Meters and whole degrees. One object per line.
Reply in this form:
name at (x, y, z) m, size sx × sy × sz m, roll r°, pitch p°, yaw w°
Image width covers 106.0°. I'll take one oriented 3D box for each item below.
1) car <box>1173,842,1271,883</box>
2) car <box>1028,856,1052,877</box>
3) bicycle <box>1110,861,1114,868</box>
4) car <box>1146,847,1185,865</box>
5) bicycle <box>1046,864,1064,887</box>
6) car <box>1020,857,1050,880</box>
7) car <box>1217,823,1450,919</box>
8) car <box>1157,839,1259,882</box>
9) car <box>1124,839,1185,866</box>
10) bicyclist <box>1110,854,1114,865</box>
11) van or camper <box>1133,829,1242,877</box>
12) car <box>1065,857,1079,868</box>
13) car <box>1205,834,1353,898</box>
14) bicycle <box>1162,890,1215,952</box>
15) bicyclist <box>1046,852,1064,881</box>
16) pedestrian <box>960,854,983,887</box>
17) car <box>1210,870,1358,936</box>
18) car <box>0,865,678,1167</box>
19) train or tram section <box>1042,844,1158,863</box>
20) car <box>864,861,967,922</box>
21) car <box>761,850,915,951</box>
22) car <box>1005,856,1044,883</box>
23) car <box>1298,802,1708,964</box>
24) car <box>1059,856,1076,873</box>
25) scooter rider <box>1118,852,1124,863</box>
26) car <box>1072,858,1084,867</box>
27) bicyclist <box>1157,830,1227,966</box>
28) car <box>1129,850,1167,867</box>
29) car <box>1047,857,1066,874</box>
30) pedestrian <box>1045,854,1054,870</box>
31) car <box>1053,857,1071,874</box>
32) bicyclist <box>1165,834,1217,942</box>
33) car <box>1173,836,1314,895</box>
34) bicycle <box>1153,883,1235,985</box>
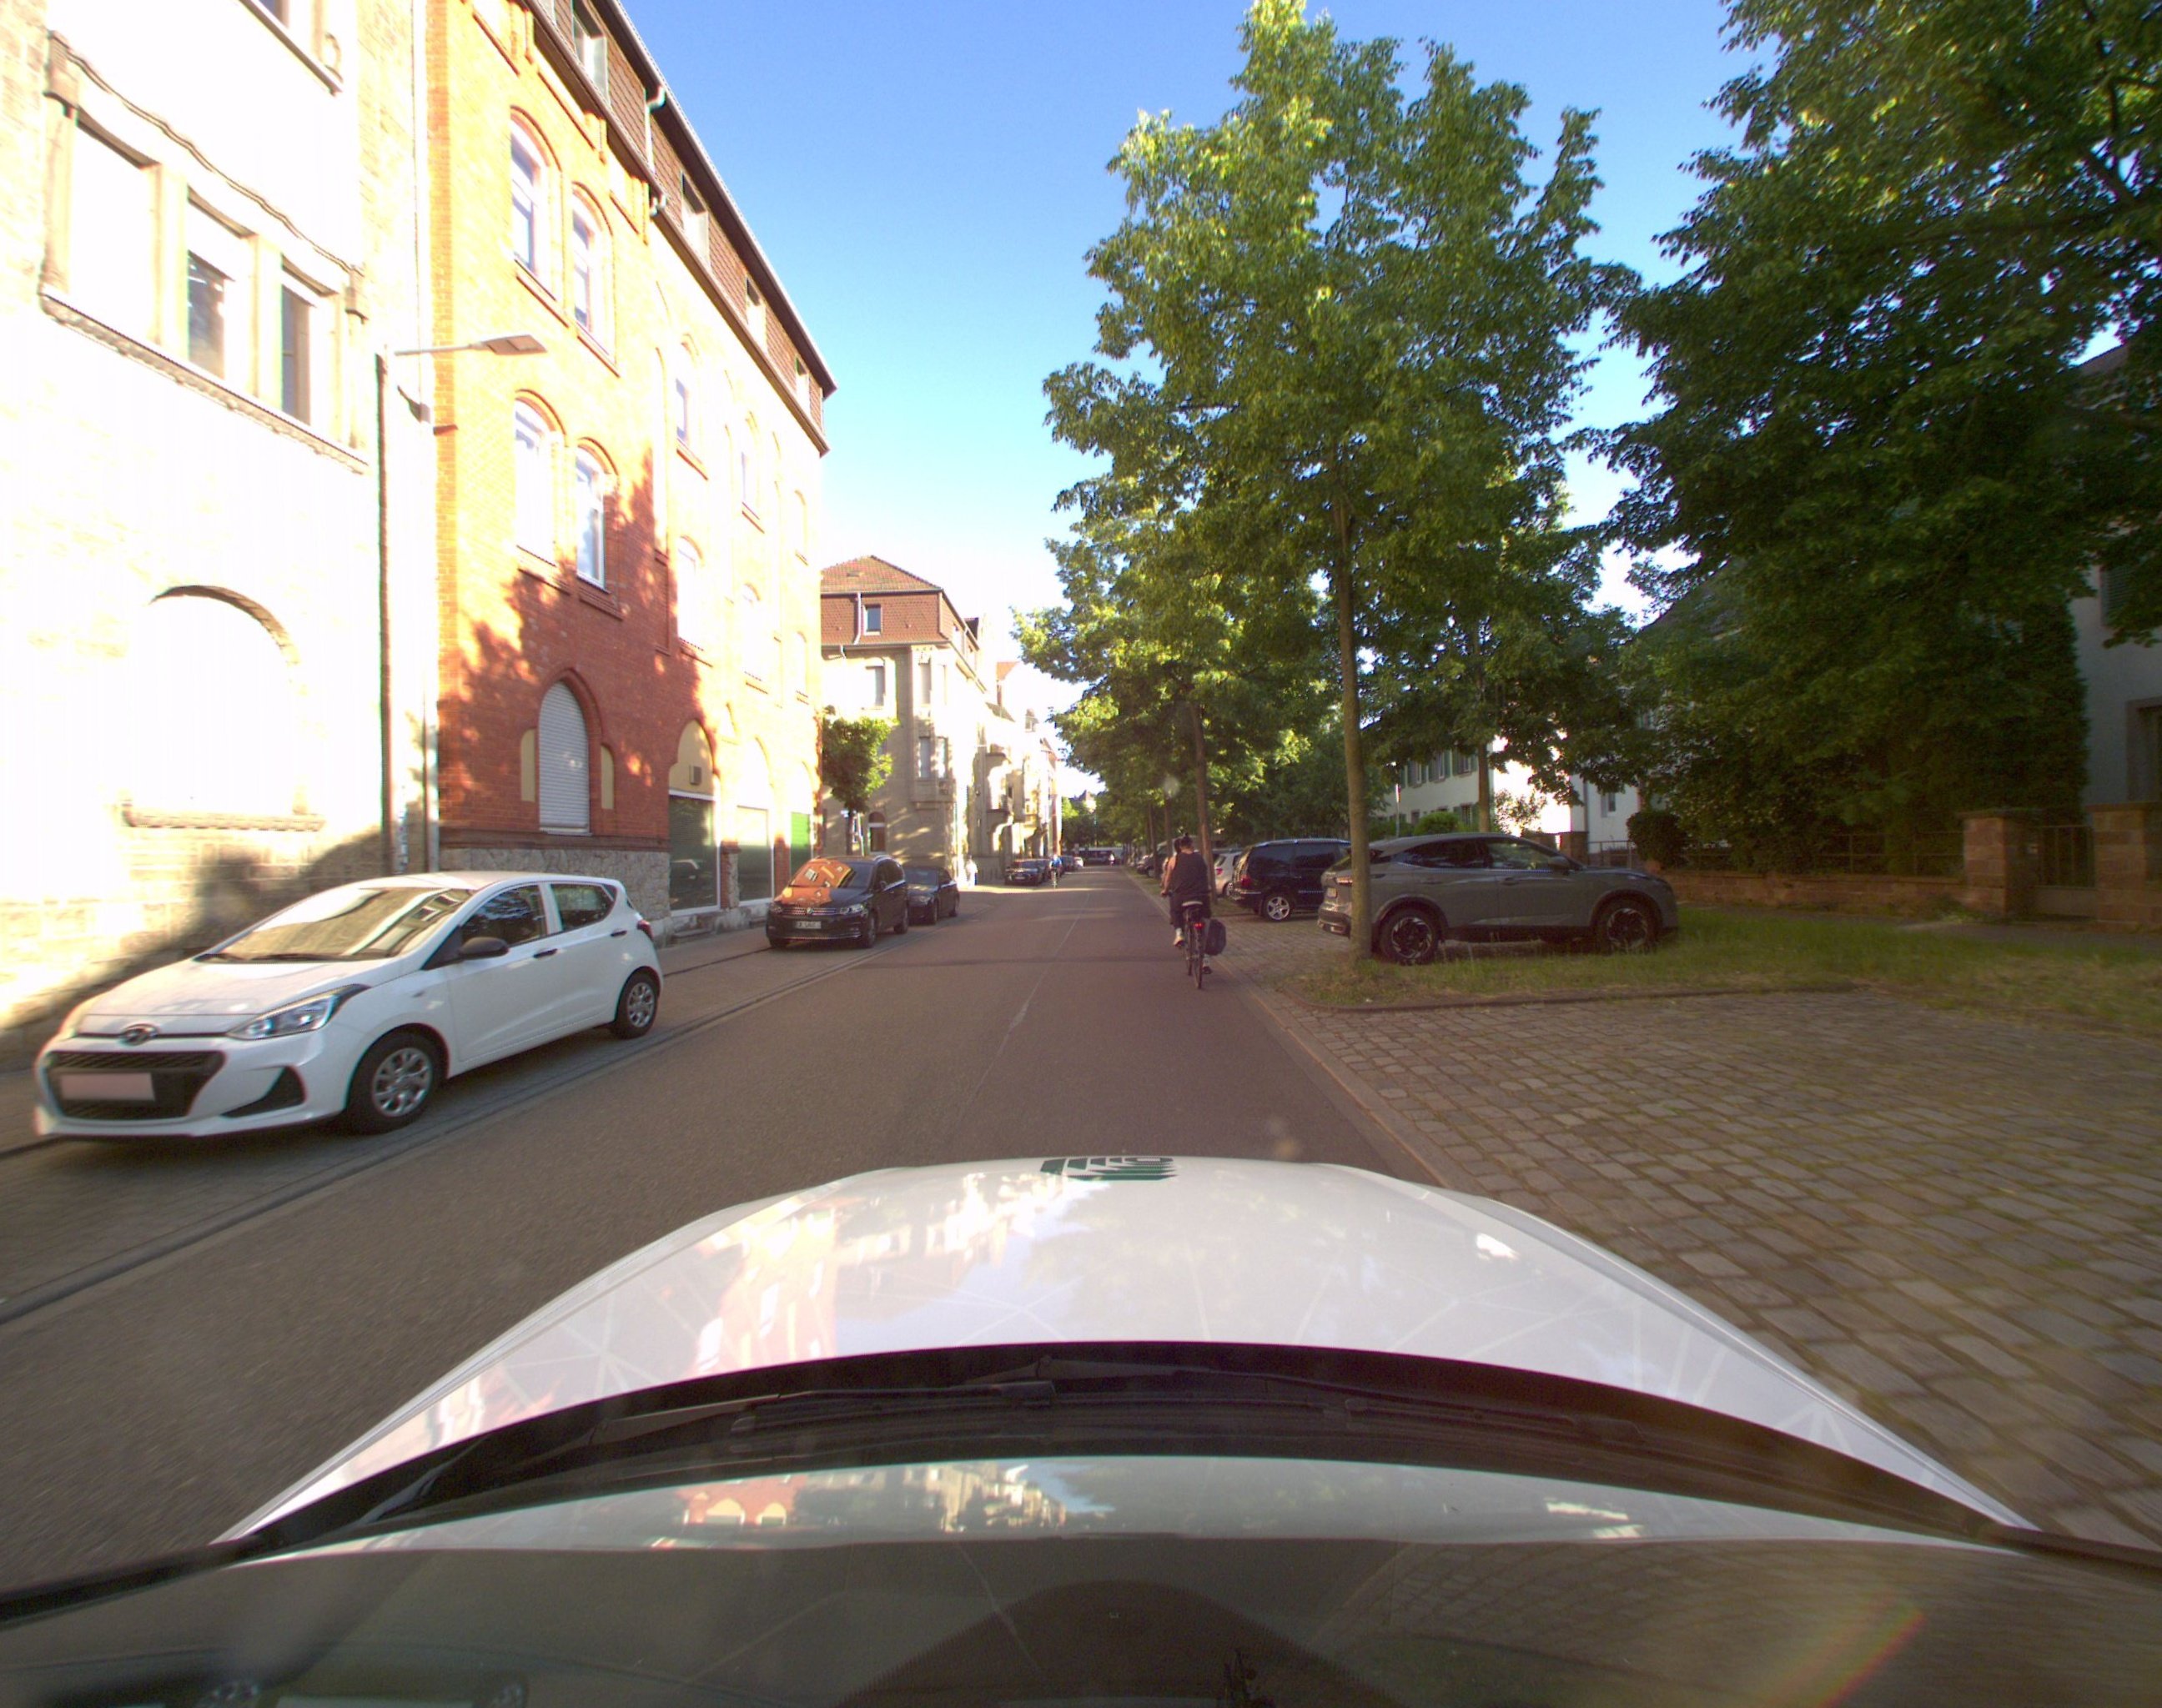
car at (6.252, 0.376, 36.365) m, size 4.052 × 1.476 × 1.695 m, roll -5°, pitch 0°, yaw 2°
car at (-2.994, 0.903, 60.337) m, size 1.624 × 1.453 × 3.837 m, roll 0°, pitch 0°, yaw -1°
bicycle at (4.651, 1.549, 121.855) m, size 0.496 × 1.005 × 1.474 m, roll -1°, pitch -2°, yaw 2°
car at (8.252, 0.189, 79.879) m, size 3.757 × 1.600 × 1.692 m, roll -2°, pitch -2°, yaw 3°
bicycle at (-1.295, 1.077, 41.593) m, size 0.755 × 1.107 × 1.908 m, roll -2°, pitch -1°, yaw 2°
car at (-3.020, 0.937, 53.742) m, size 1.690 × 1.453 × 4.027 m, roll -1°, pitch -1°, yaw 0°
car at (5.484, 0.362, 18.172) m, size 4.562 × 1.677 × 1.909 m, roll -5°, pitch 0°, yaw 3°
car at (6.052, 0.313, 39.134) m, size 4.600 × 1.709 × 1.835 m, roll -4°, pitch 0°, yaw 3°
car at (9.015, -0.173, 100.647) m, size 7.126 × 2.978 × 2.463 m, roll -3°, pitch -1°, yaw -1°
bicyclist at (4.643, 0.803, 121.847) m, size 0.484 × 1.744 × 0.656 m, roll 0°, pitch -1°, yaw 2°
van or camper at (7.221, -0.072, 55.852) m, size 7.116 × 2.647 × 2.467 m, roll -5°, pitch 0°, yaw 3°
car at (-1.140, 1.096, 106.096) m, size 1.577 × 1.343 × 4.134 m, roll 1°, pitch 0°, yaw 2°
car at (6.194, 0.371, 25.806) m, size 4.253 × 1.633 × 1.692 m, roll -5°, pitch 0°, yaw 4°
bicycle at (1.662, 1.016, 12.826) m, size 0.631 × 0.799 × 1.833 m, roll -2°, pitch 0°, yaw 2°
bicyclist at (-1.319, 0.634, 41.533) m, size 0.757 × 1.454 × 0.949 m, roll -2°, pitch -1°, yaw 1°
pedestrian at (-5.472, 0.800, 40.588) m, size 0.884 × 1.577 × 1.054 m, roll -3°, pitch 0°, yaw 2°
car at (5.652, 1.346, 22.930) m, size 3.708 × 1.453 × 1.589 m, roll -5°, pitch 0°, yaw 1°
car at (-4.734, 0.858, 5.975) m, size 1.559 × 1.470 × 3.595 m, roll -1°, pitch 0°, yaw 4°
train or tram section at (4.004, -0.014, 166.583) m, size 23.889 × 3.708 × 4.256 m, roll 0°, pitch -1°, yaw -21°
car at (-4.202, 0.895, 21.309) m, size 1.629 × 1.411 × 4.335 m, roll 1°, pitch -1°, yaw 2°
car at (-4.510, 0.794, 15.805) m, size 1.664 × 1.681 × 4.349 m, roll -1°, pitch -1°, yaw 0°
car at (-3.211, 0.865, 47.116) m, size 1.804 × 1.427 × 4.899 m, roll 1°, pitch 0°, yaw 1°
car at (5.444, 0.356, 10.961) m, size 4.461 × 1.633 × 1.875 m, roll -5°, pitch 0°, yaw 0°
car at (-1.556, 1.196, 95.846) m, size 1.682 × 1.825 × 4.275 m, roll 1°, pitch 0°, yaw 2°
scooter rider at (6.528, 0.614, 133.112) m, size 0.869 × 1.841 × 0.670 m, roll 0°, pitch -1°, yaw -3°
car at (-0.473, 1.304, 124.045) m, size 1.577 × 1.375 × 4.134 m, roll 1°, pitch 0°, yaw 2°
bicyclist at (1.310, 0.508, 9.780) m, size 0.727 × 1.548 × 0.884 m, roll 0°, pitch -1°, yaw 1°
car at (7.637, 0.546, 93.320) m, size 4.070 × 1.650 × 1.640 m, roll -5°, pitch -1°, yaw -1°
car at (-2.299, 1.076, 75.625) m, size 1.590 × 1.489 × 2.736 m, roll 2°, pitch 0°, yaw 0°
pedestrian at (-3.593, 0.891, 91.762) m, size 0.934 × 1.742 × 0.735 m, roll 0°, pitch -1°, yaw 3°
car at (-2.050, 1.223, 89.234) m, size 1.634 × 1.783 × 4.357 m, roll 1°, pitch 0°, yaw 2°
bicyclist at (1.723, 0.522, 12.905) m, size 0.686 × 1.626 × 0.998 m, roll -1°, pitch 0°, yaw 1°
car at (5.720, 0.400, 28.971) m, size 4.530 × 1.633 × 1.809 m, roll -5°, pitch 0°, yaw -5°
bicycle at (1.308, 0.900, 9.746) m, size 0.735 × 1.054 × 1.956 m, roll 0°, pitch -1°, yaw 1°
